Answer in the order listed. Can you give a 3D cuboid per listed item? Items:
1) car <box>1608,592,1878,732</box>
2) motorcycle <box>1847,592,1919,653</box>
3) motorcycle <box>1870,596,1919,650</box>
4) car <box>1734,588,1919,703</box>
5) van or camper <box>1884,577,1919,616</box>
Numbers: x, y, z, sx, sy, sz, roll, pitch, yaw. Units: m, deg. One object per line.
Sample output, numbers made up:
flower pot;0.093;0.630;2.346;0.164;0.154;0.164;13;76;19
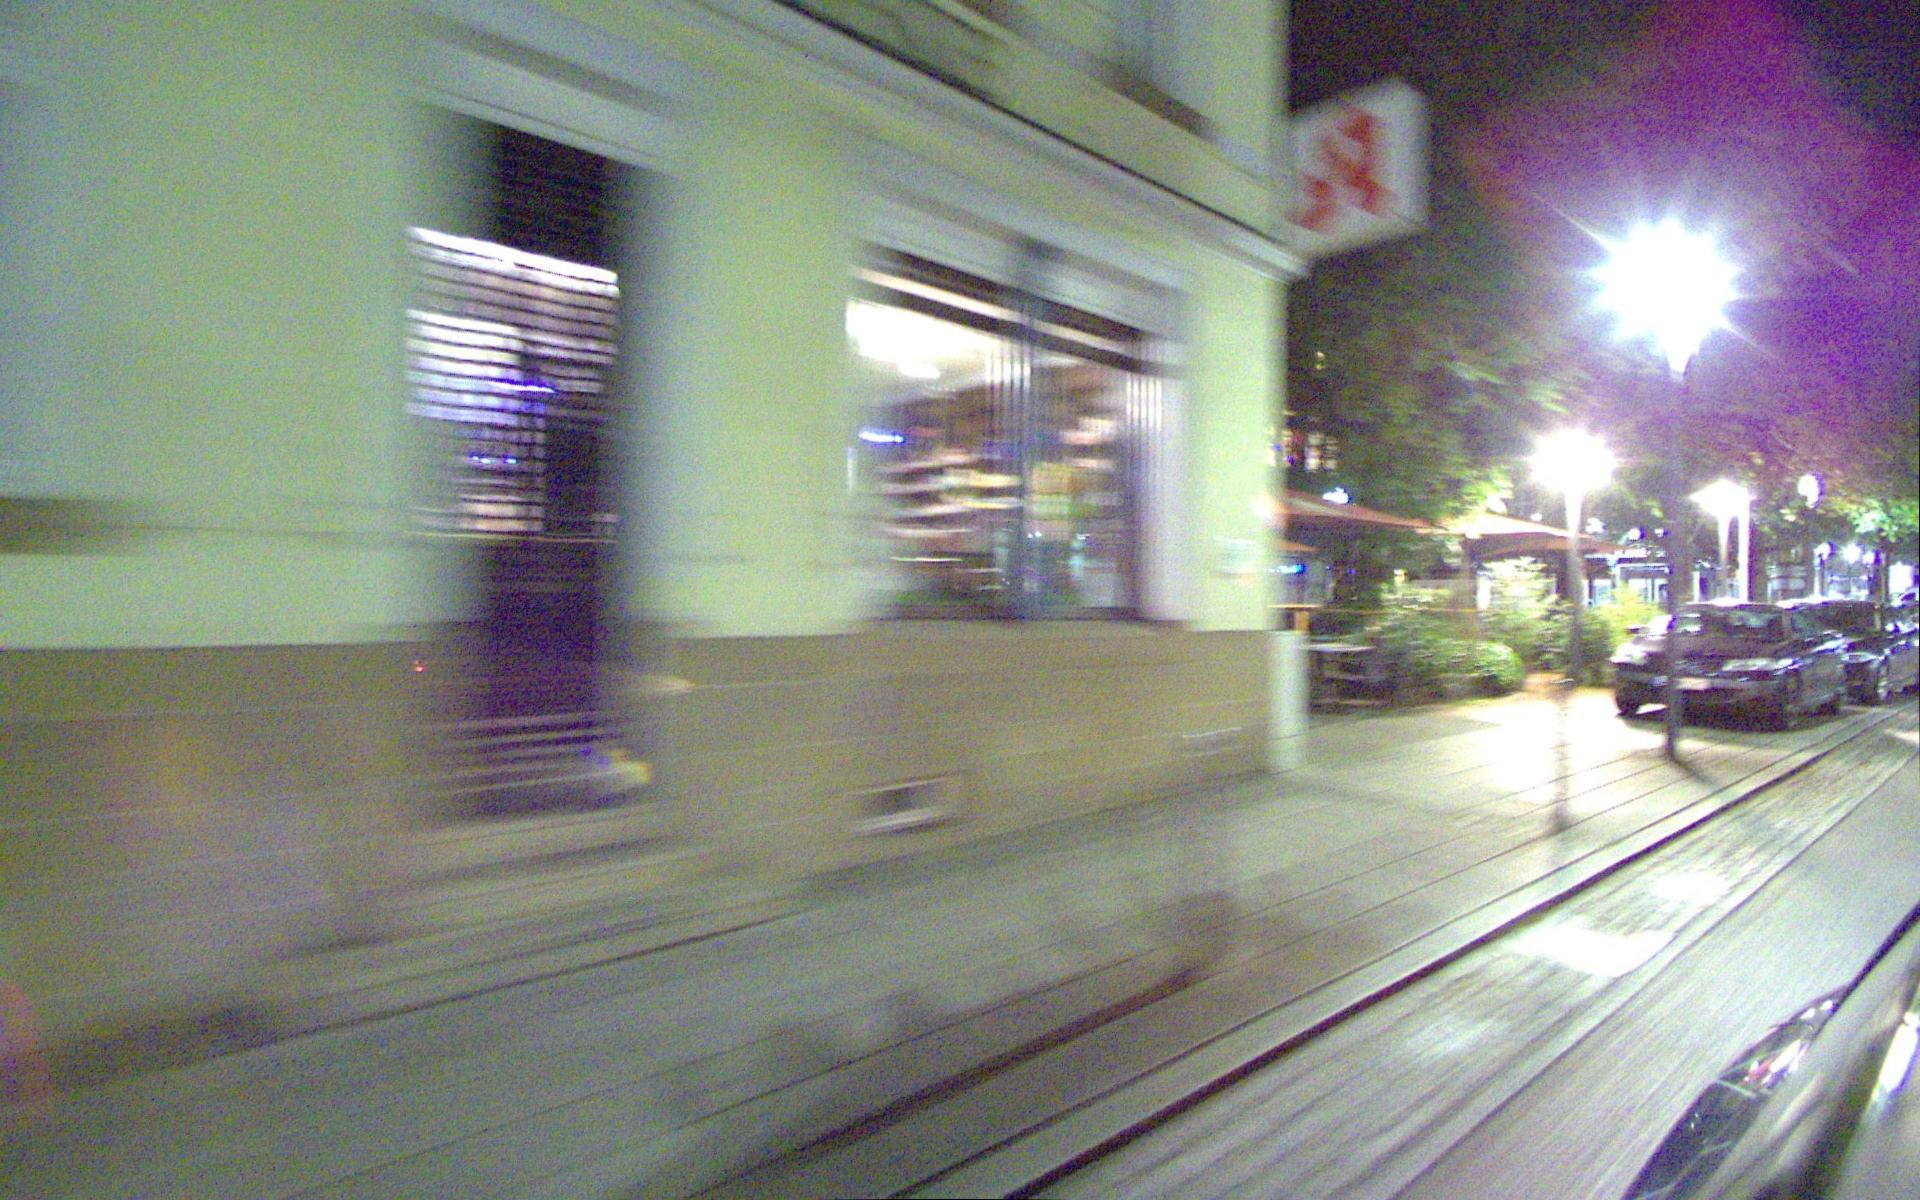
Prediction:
car;9.701;0.639;12.440;4.029;1.394;1.666;0;2;-38
motorcycle;22.703;0.529;24.153;0.647;1.408;2.276;0;1;-16
motorcycle;23.642;0.575;24.758;0.505;1.313;2.175;1;1;-10
car;13.687;0.590;15.579;4.385;1.482;1.758;0;2;-38
van or camper;66.253;-0.199;67.809;5.972;2.565;2.150;1;0;18
